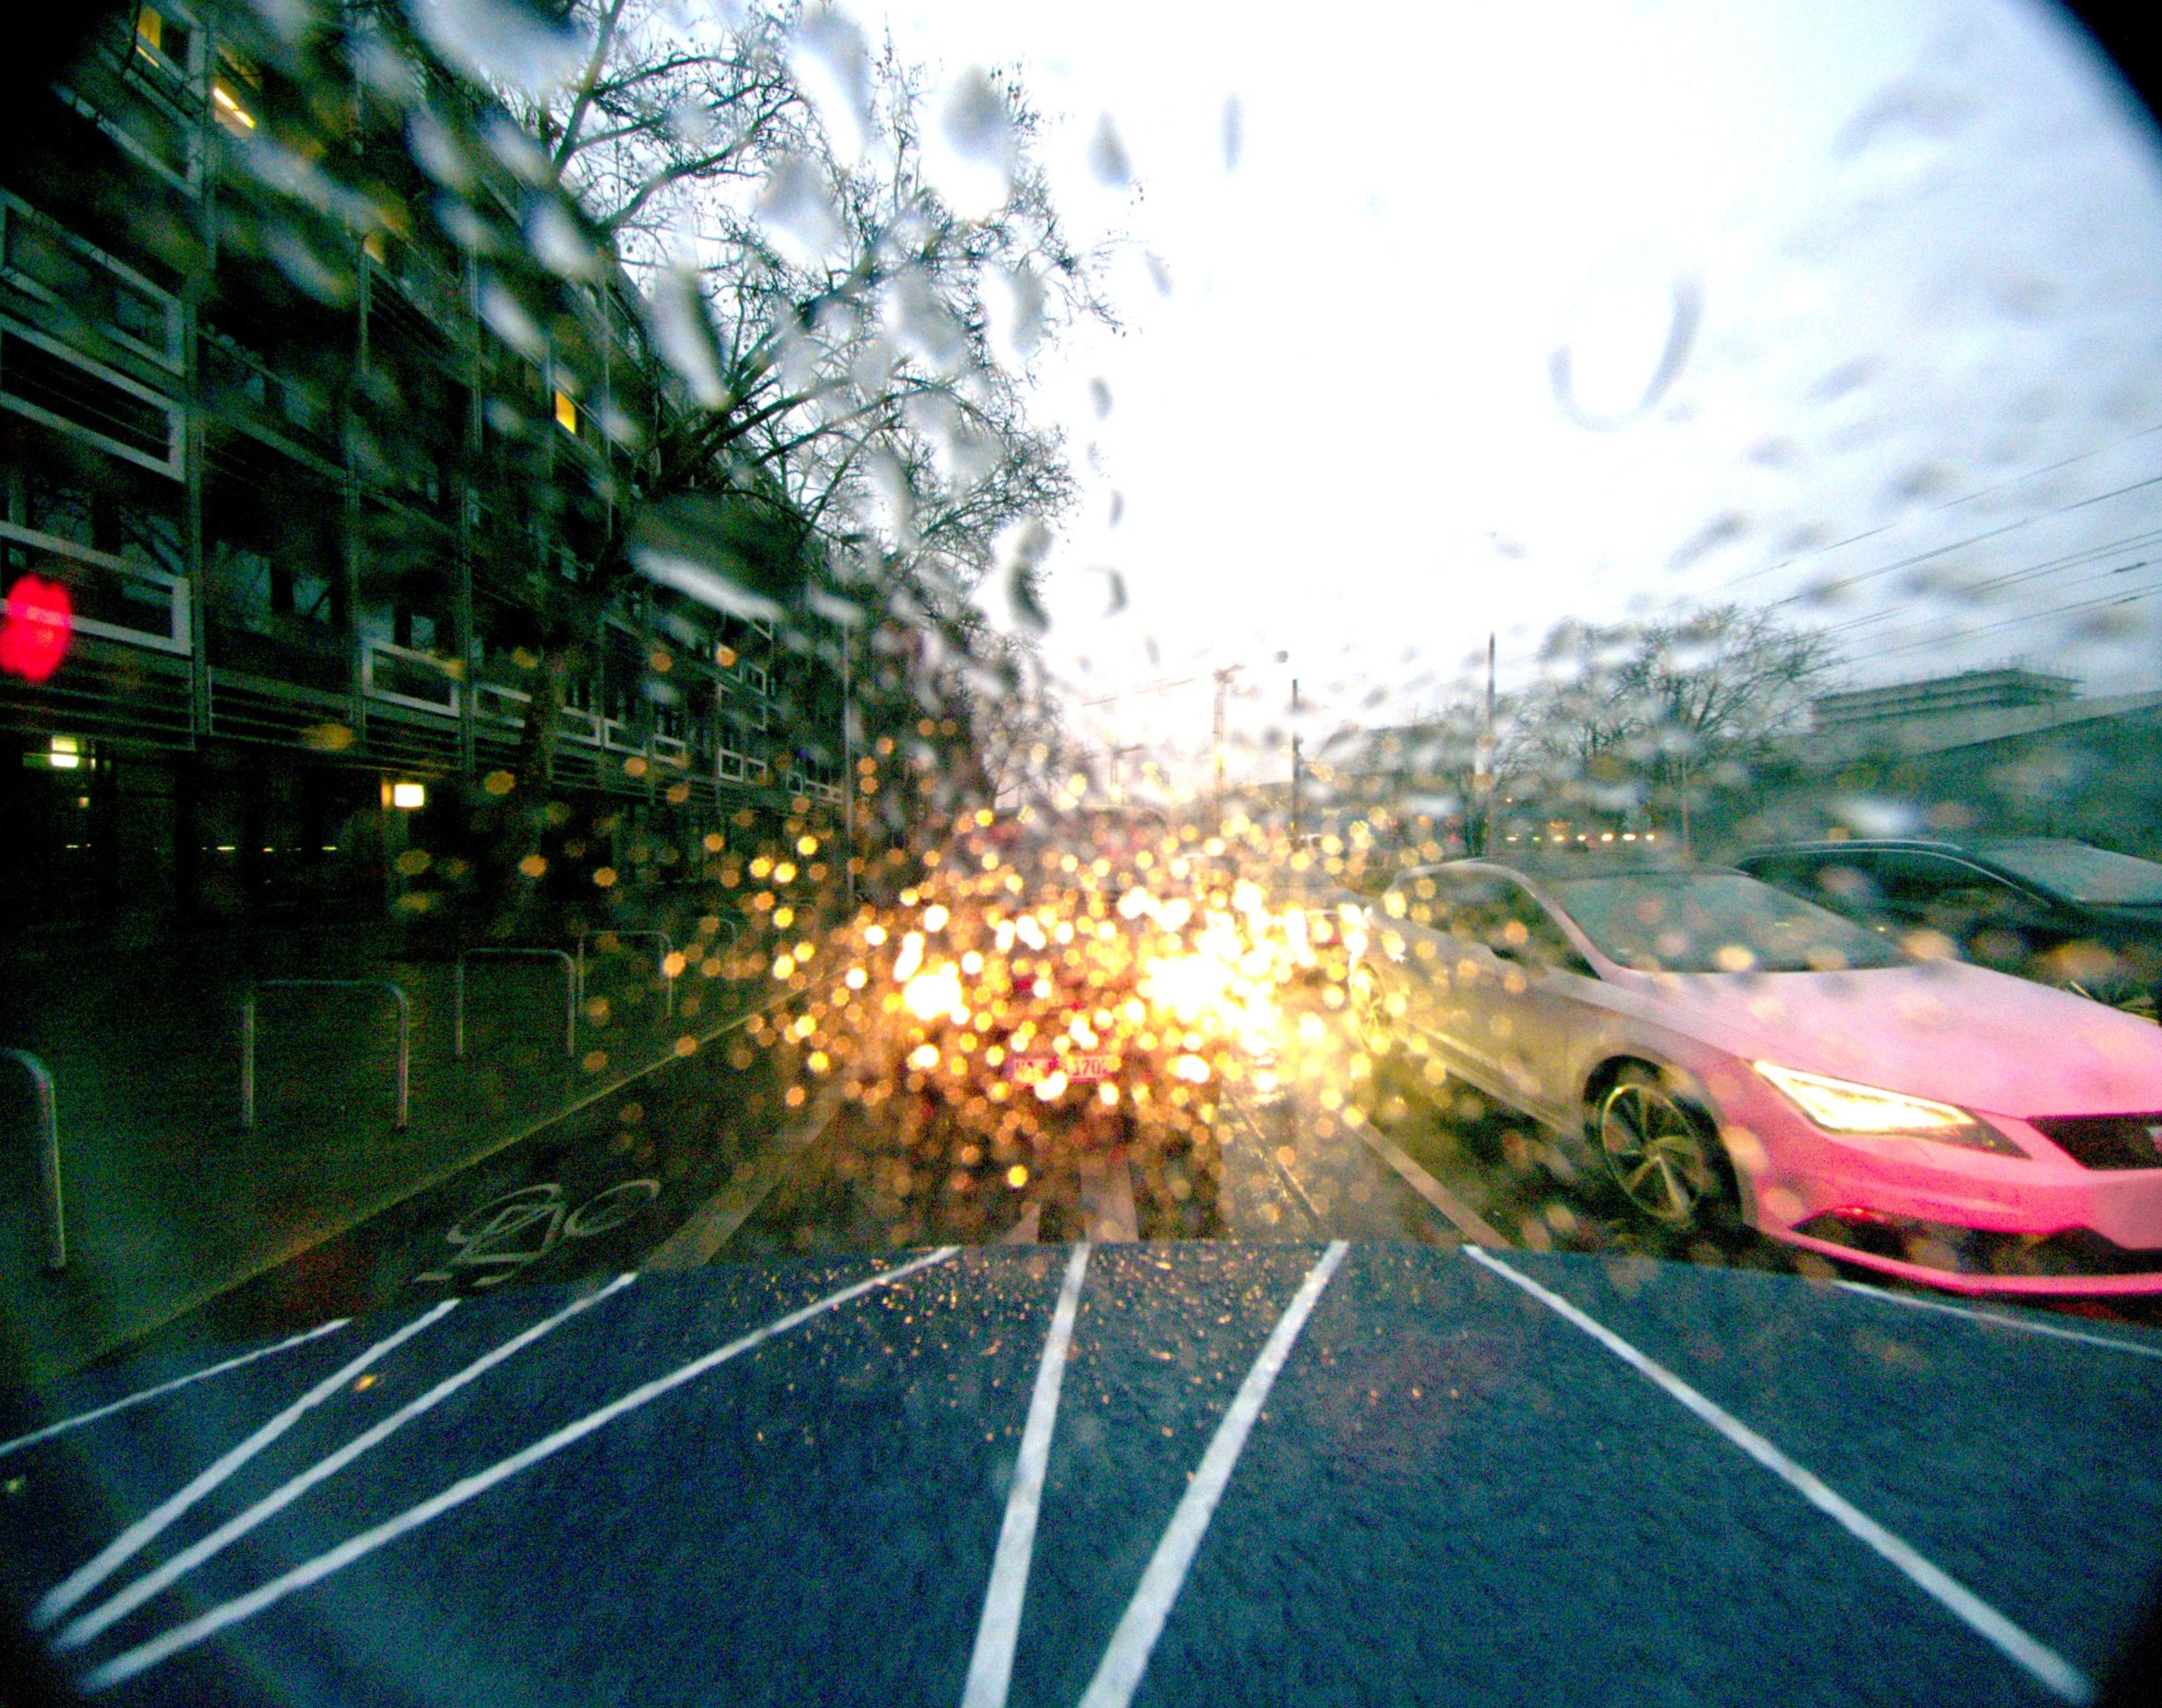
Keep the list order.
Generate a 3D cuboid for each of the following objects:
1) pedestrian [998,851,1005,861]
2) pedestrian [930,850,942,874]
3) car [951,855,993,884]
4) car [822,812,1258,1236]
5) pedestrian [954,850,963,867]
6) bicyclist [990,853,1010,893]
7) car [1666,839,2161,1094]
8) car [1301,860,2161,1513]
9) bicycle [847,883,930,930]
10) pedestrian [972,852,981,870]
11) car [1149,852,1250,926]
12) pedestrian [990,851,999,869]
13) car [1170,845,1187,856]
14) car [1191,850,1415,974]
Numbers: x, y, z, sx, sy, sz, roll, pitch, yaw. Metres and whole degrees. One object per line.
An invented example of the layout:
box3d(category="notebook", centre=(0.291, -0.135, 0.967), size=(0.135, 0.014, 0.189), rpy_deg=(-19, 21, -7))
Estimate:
box3d(category="pedestrian", centre=(-10.471, 0.240, 99.836), size=(0.782, 1.330, 0.751), rpy_deg=(-2, 1, 1))
box3d(category="pedestrian", centre=(-10.767, 0.611, 56.504), size=(0.766, 1.740, 0.928), rpy_deg=(0, 1, -4))
box3d(category="car", centre=(-6.158, 0.840, 43.355), size=(1.713, 1.455, 3.999), rpy_deg=(-2, 1, 1))
box3d(category="car", centre=(-0.185, 0.743, 5.399), size=(1.878, 1.830, 3.999), rpy_deg=(-2, 1, 0))
box3d(category="pedestrian", centre=(-12.395, 0.459, 77.047), size=(0.766, 1.740, 0.928), rpy_deg=(0, 1, -4))
box3d(category="bicyclist", centre=(-3.435, 0.781, 32.192), size=(0.704, 1.650, 0.964), rpy_deg=(-1, 0, 1))
box3d(category="car", centre=(7.356, 0.649, 5.990), size=(1.853, 1.499, 4.662), rpy_deg=(-1, 1, -1))
box3d(category="car", centre=(2.983, 0.837, 4.174), size=(1.949, 1.478, 4.504), rpy_deg=(-2, 0, -4))
box3d(category="bicycle", centre=(-4.450, 1.207, 17.657), size=(1.704, 0.987, 0.879), rpy_deg=(1, 1, 0))
box3d(category="pedestrian", centre=(-10.056, 0.637, 73.149), size=(0.766, 1.740, 0.928), rpy_deg=(0, 1, -4))
box3d(category="car", centre=(2.846, 0.794, 19.132), size=(1.907, 1.565, 3.999), rpy_deg=(-2, 1, 1))
box3d(category="pedestrian", centre=(-8.352, 0.606, 73.249), size=(0.766, 1.740, 0.928), rpy_deg=(0, 1, -4))
box3d(category="car", centre=(17.626, -0.652, 137.875), size=(2.095, 1.884, 3.997), rpy_deg=(-1, 1, -7))
box3d(category="car", centre=(3.038, 0.699, 11.522), size=(1.999, 1.478, 4.505), rpy_deg=(-1, 0, -1))
